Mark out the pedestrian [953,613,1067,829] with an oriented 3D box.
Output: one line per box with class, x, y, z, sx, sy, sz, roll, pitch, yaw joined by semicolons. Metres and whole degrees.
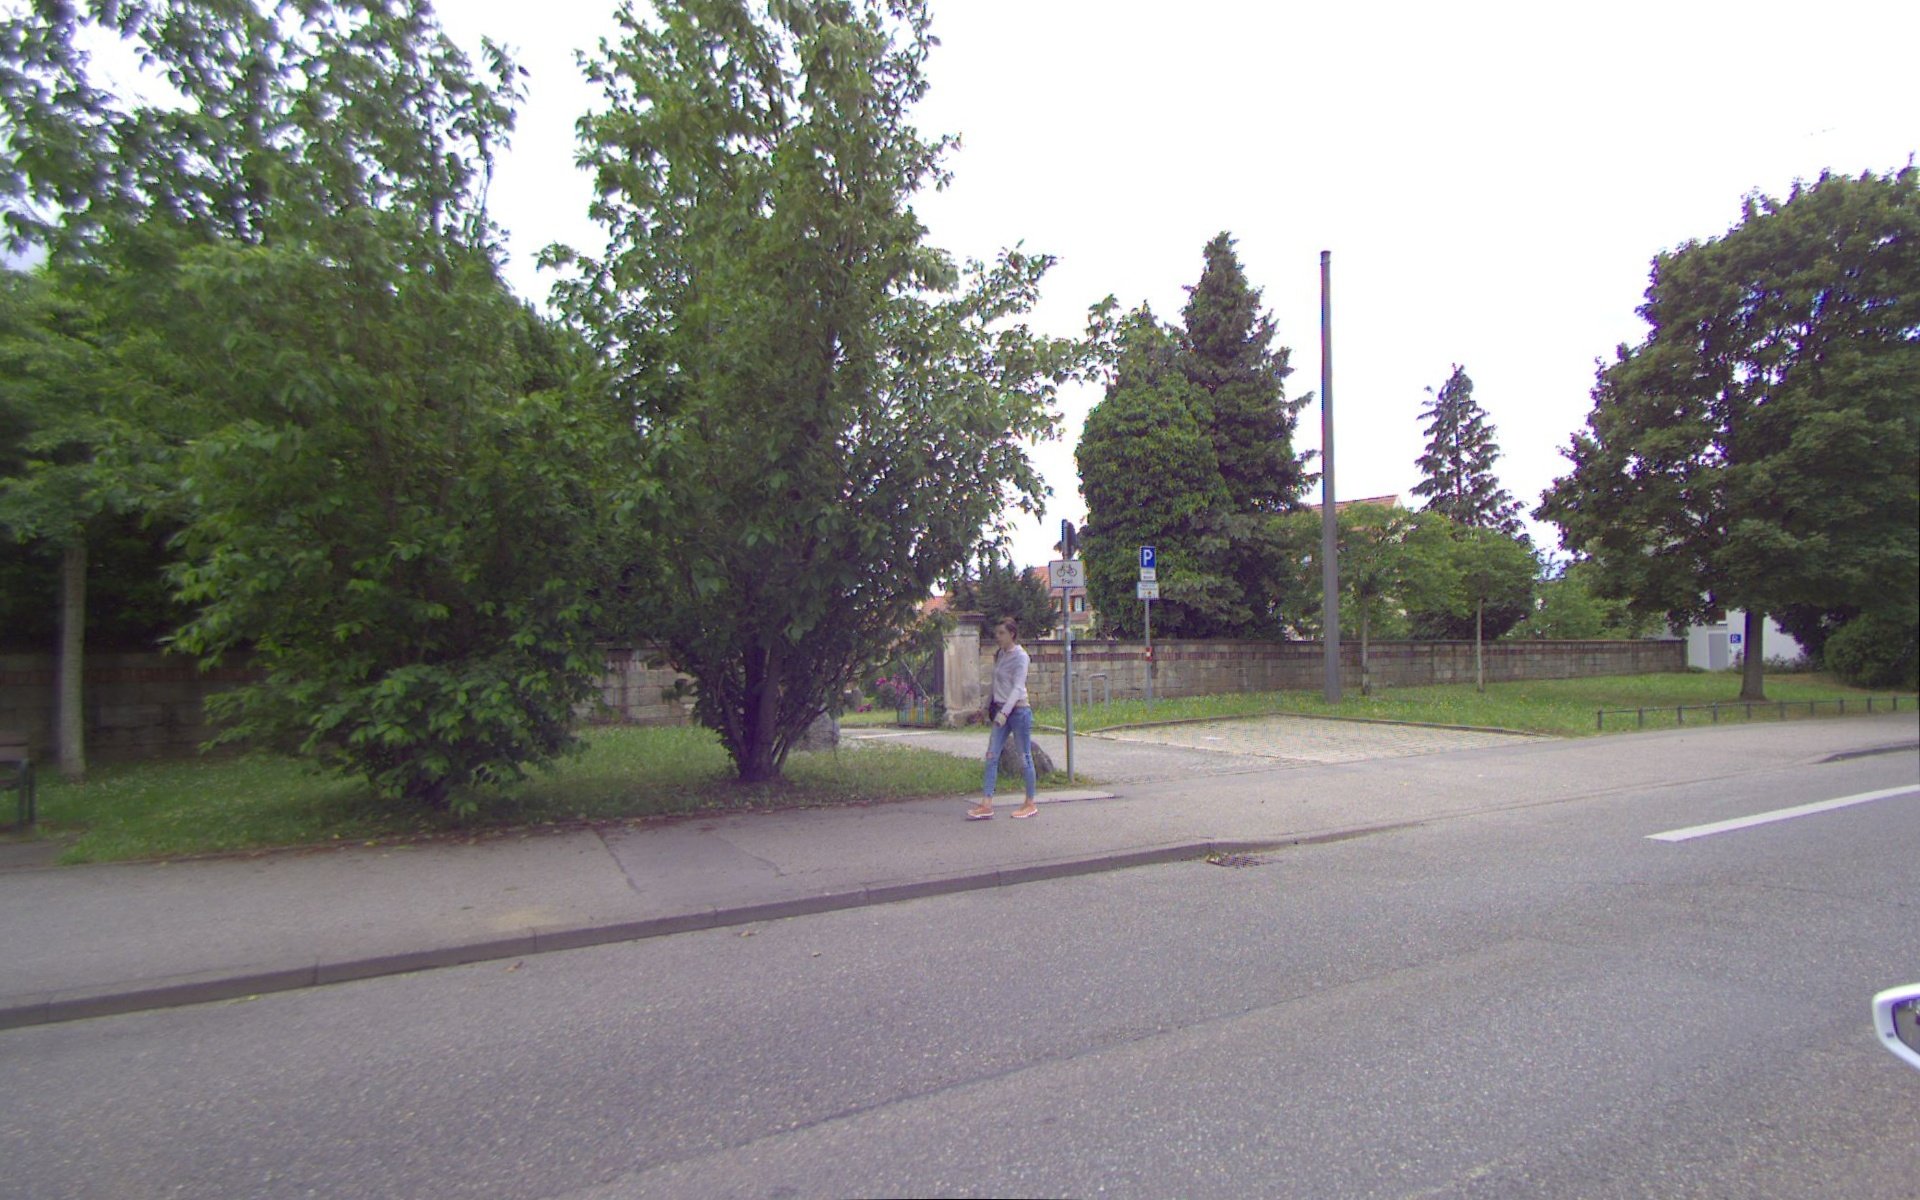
pedestrian;0.446;1.045;9.021;0.776;1.835;0.610;2;0;-30
